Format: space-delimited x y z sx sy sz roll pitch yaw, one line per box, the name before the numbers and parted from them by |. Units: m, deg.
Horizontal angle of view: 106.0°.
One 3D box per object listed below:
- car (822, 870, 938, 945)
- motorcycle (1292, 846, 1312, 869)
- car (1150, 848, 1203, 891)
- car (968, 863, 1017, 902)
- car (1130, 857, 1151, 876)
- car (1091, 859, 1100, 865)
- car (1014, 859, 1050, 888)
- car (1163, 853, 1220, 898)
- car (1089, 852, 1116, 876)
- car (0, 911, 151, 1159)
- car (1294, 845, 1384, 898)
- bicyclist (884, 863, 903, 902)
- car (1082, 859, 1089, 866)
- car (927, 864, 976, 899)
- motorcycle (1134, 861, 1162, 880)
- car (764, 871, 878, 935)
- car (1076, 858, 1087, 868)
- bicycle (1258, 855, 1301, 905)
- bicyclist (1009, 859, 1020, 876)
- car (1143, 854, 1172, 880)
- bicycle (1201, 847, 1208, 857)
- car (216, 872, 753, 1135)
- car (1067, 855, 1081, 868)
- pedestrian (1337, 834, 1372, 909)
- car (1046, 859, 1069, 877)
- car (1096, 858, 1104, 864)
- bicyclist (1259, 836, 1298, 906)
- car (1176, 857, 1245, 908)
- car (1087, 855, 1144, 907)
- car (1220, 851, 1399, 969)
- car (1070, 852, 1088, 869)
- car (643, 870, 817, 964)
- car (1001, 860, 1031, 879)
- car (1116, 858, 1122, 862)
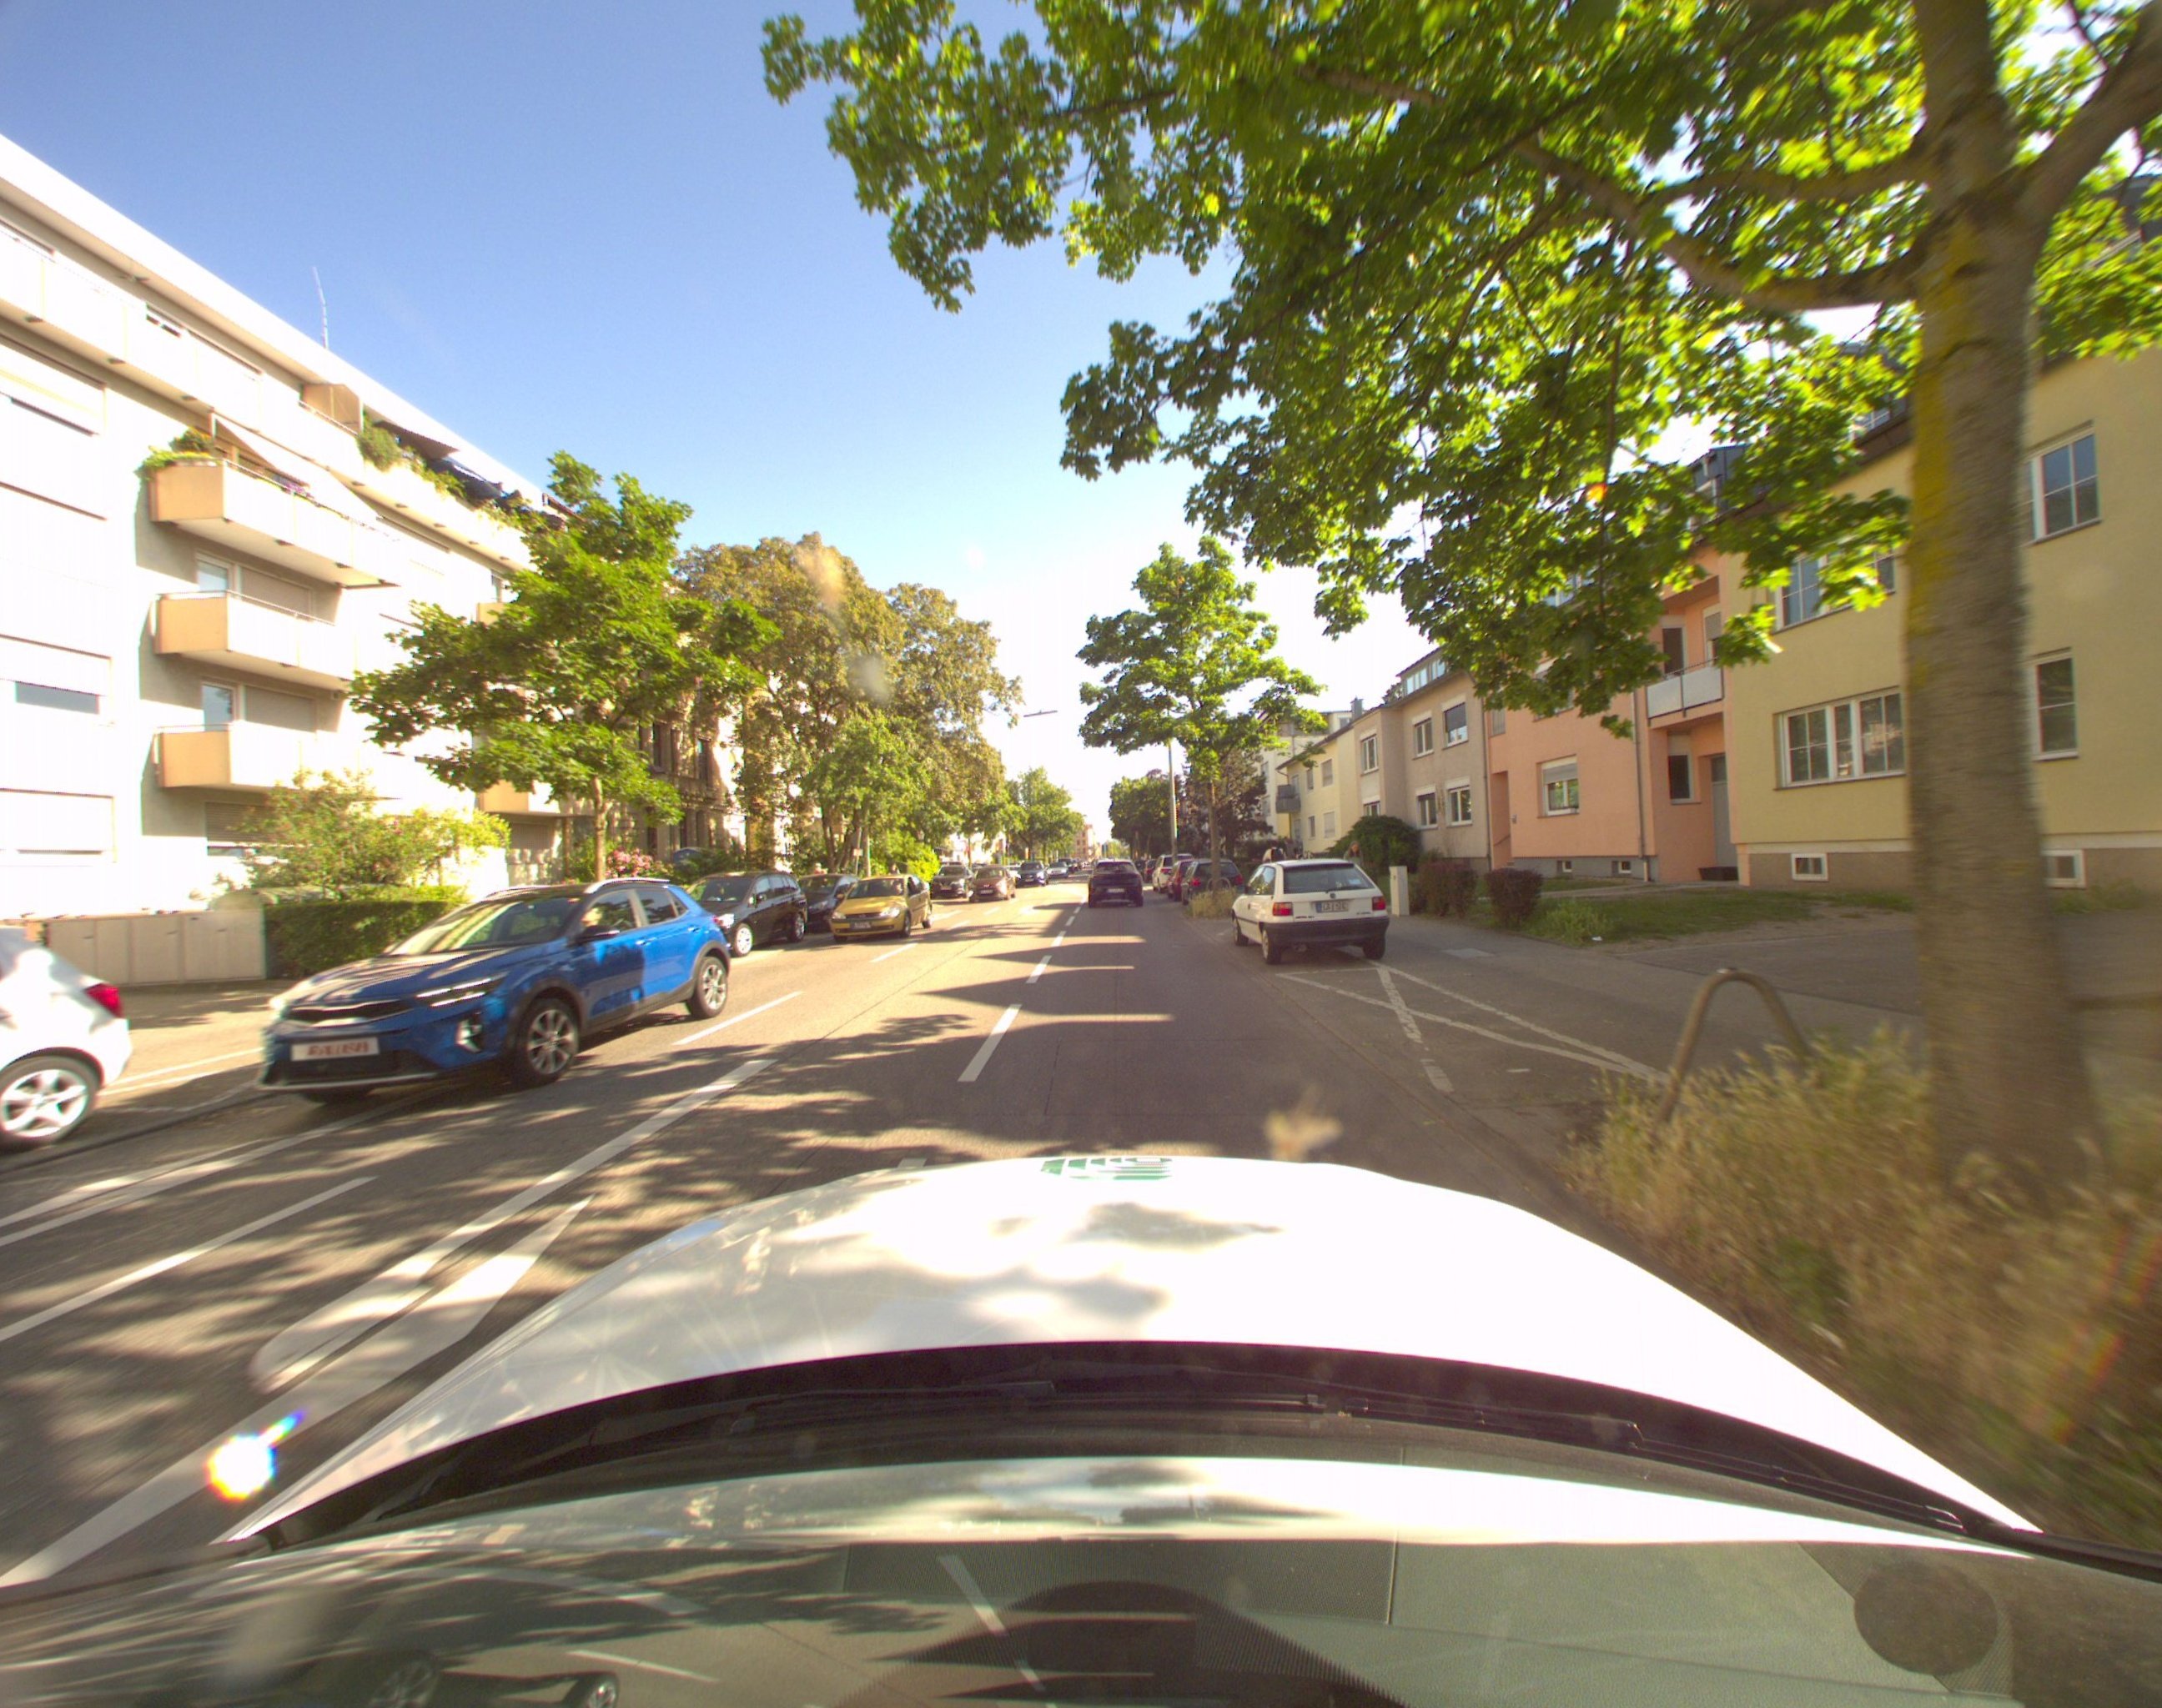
car | -4.562 1.168 19.047 1.629 1.403 3.736 -5 0 1
motorcycle | 13.999 0.225 51.594 0.634 1.375 2.427 -3 0 2
car | 4.146 0.661 36.058 1.763 1.659 4.341 -4 0 0
car | -3.753 1.180 35.039 1.575 1.451 3.745 -4 0 1
car | 4.917 1.010 67.845 1.580 1.396 4.457 -4 0 3
car | 3.460 1.912 194.151 1.764 1.452 3.889 -3 0 4
car | -3.123 1.215 52.453 1.830 1.613 4.402 -5 0 1
car | 3.924 0.740 29.411 1.526 1.449 3.718 -3 0 1
car | 1.613 0.717 59.050 1.823 1.578 3.842 -3 0 2
car | -7.515 1.180 4.053 1.395 1.489 3.688 -2 0 3
car | 7.709 0.504 24.644 1.526 1.356 3.719 -5 0 2
bicyclist | -8.652 1.311 37.549 0.606 1.754 0.691 -3 -1 2
car | 1.169 2.314 225.860 1.784 1.617 4.003 -3 0 3
car | -6.333 1.306 40.193 1.619 1.588 4.349 -1 0 1
motorcycle | 4.594 1.153 56.141 0.701 1.271 2.411 -4 0 -25
car | -6.961 1.260 22.214 1.594 1.477 3.935 -2 0 4
car | 0.125 1.573 144.899 1.800 1.648 4.673 -5 0 1
bicycle | 5.319 0.687 21.958 0.695 1.247 1.822 -4 0 2
bicyclist | -7.491 1.531 91.961 1.052 1.824 0.657 -3 -1 -13
car | 4.830 0.828 51.748 1.613 1.499 3.652 -4 0 3
bicycle | 15.594 -0.237 102.701 0.589 1.287 1.690 -5 -1 2
car | -4.753 1.027 7.391 1.649 1.517 4.078 -5 0 2
car | -1.002 1.102 116.658 1.809 1.743 4.494 -5 -1 1
pedestrian | 6.266 0.392 18.676 0.536 1.677 0.493 -4 -1 2
car | -2.039 1.240 71.748 1.727 1.412 4.194 -5 0 2
car | 5.256 1.942 222.400 1.763 1.452 3.891 -3 0 5
bicyclist | 5.308 0.451 21.976 0.721 1.793 1.016 -4 -1 2
car | 3.840 0.798 24.676 1.526 1.356 3.719 -3 0 2
car | 1.119 0.853 27.139 1.739 1.574 3.559 -1 0 2
car | 3.294 0.729 12.514 1.643 1.403 3.971 -4 0 1
car | -0.236 0.787 99.517 2.009 1.952 5.179 -4 0 1
car | -7.137 1.202 17.114 1.664 1.605 4.394 -2 0 1
car | -5.130 1.235 64.622 1.827 1.389 4.804 -2 0 2
car | 11.828 1.885 254.027 1.985 1.519 4.004 0 -1 4
